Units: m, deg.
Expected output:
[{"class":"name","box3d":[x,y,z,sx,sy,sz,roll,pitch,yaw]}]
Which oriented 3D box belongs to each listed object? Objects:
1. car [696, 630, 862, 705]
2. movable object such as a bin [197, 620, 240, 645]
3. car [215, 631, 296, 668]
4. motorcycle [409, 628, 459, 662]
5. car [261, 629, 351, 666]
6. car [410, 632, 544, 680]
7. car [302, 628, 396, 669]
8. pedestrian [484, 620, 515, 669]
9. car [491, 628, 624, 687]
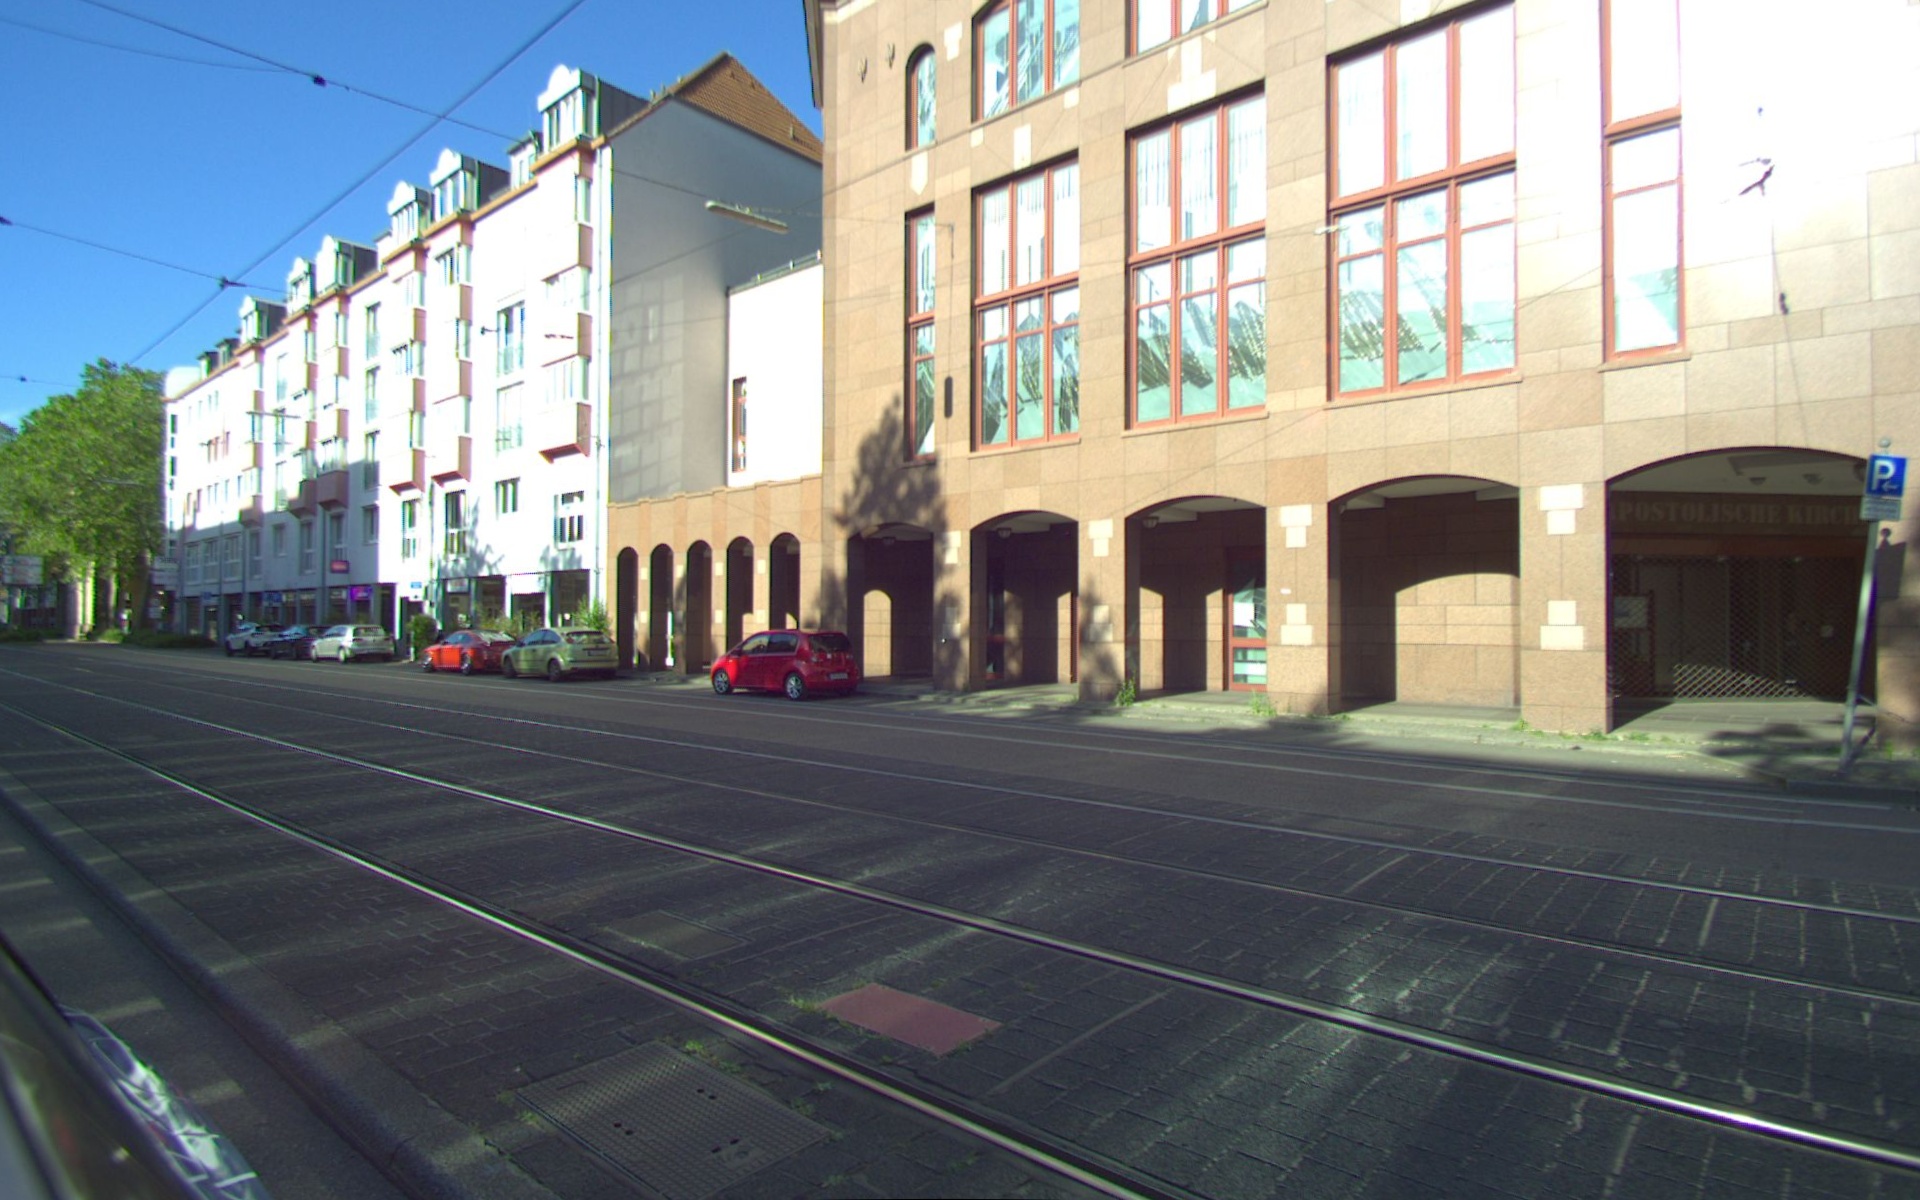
[{"class":"car","box3d":[-3.978,1.400,21.991,3.618,1.432,1.642,-2,-1,41]},{"class":"movable object such as a bin","box3d":[-60.222,2.647,82.252,2.604,2.029,1.179,1,-2,-26]},{"class":"car","box3d":[-32.952,2.285,47.307,4.364,1.626,1.899,-1,-2,38]},{"class":"motorcycle","box3d":[-19.538,1.673,37.579,2.068,1.203,0.458,-2,-1,23]},{"class":"car","box3d":[-27.502,1.961,42.498,4.822,1.469,1.882,-2,-2,40]},{"class":"car","box3d":[-15.158,1.693,31.652,4.817,1.335,1.940,-2,-1,40]},{"class":"car","box3d":[-23.681,1.837,39.170,4.202,1.486,1.734,-1,-2,38]},{"class":"pedestrian","box3d":[-17.416,1.679,38.280,0.715,1.857,0.813,-2,-2,31]},{"class":"car","box3d":[-11.303,1.565,28.271,4.288,1.479,1.652,-2,-1,41]}]
